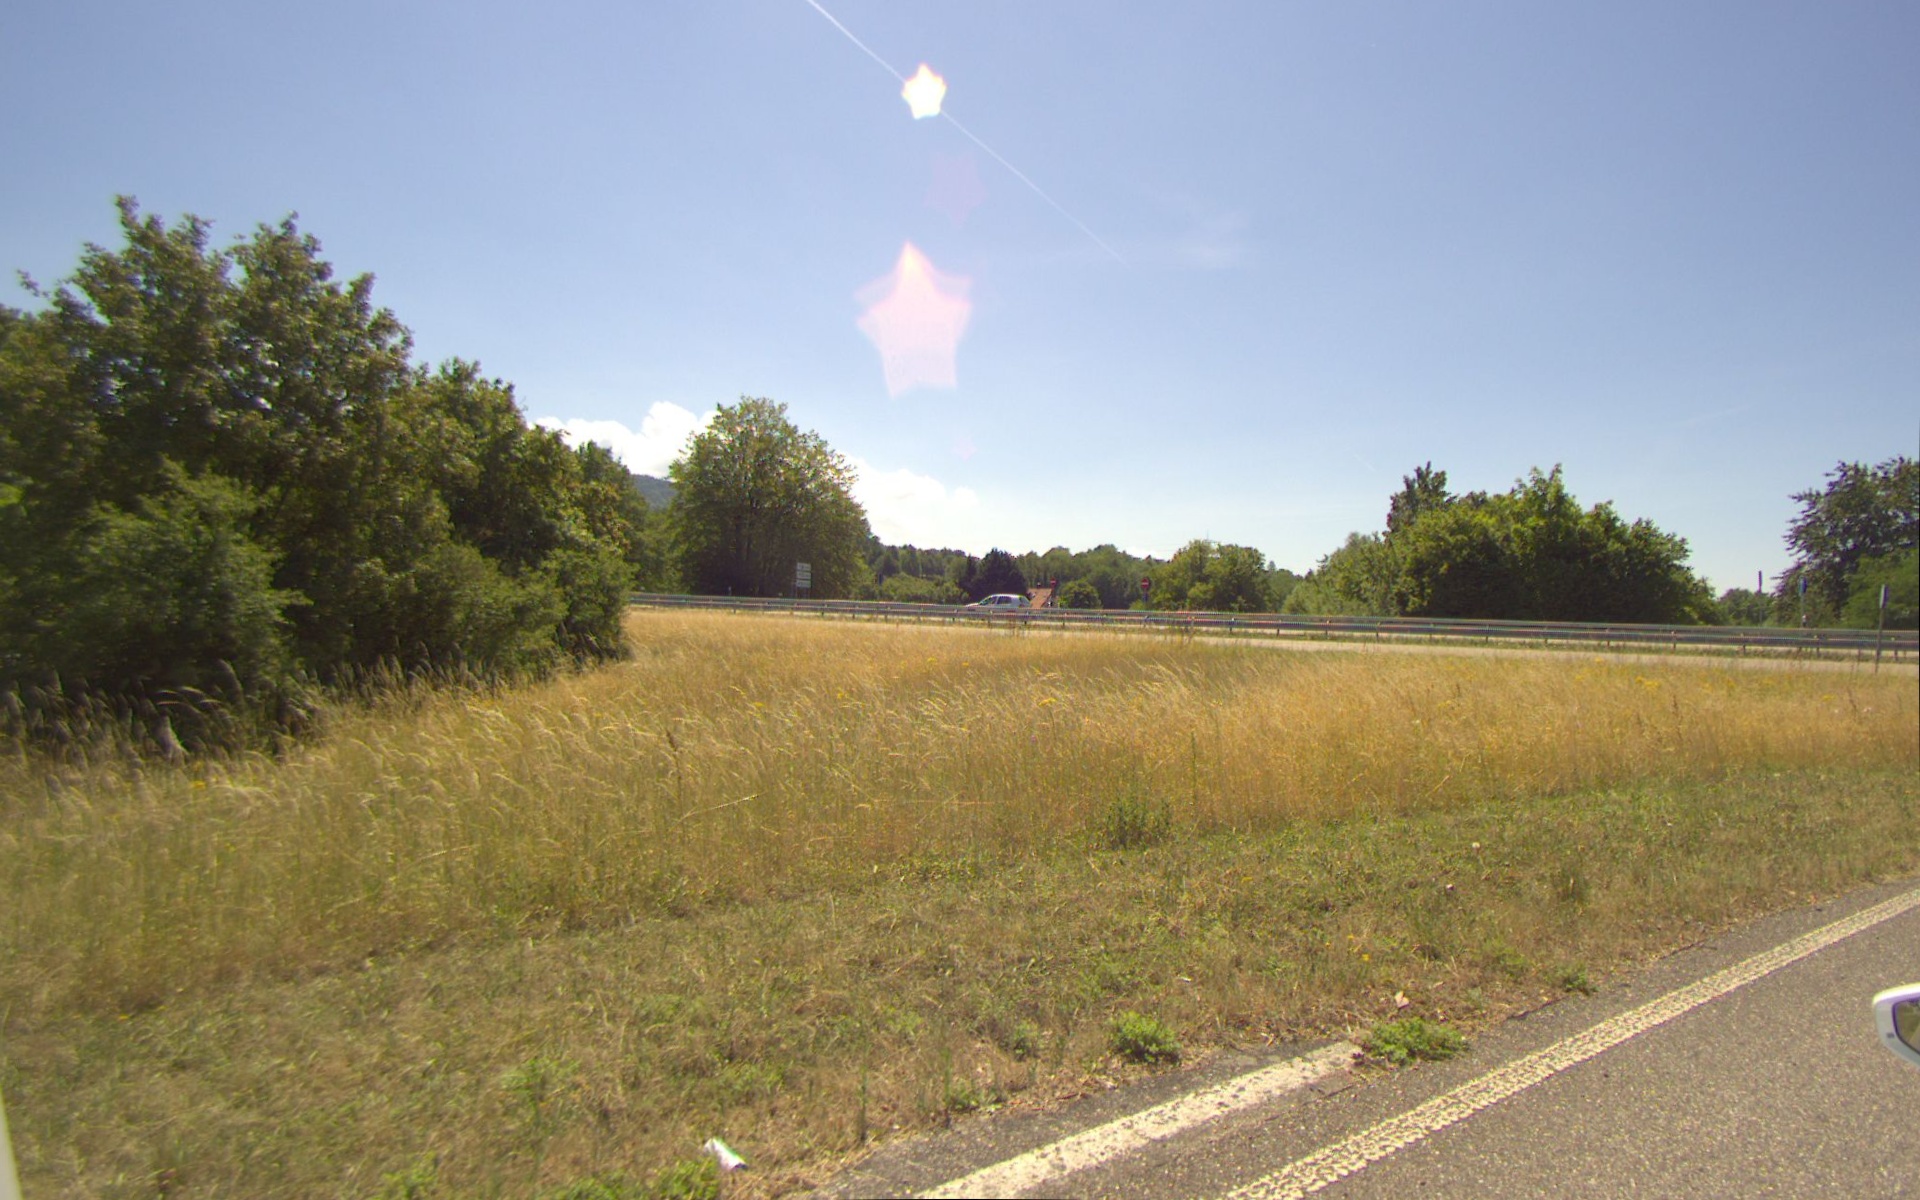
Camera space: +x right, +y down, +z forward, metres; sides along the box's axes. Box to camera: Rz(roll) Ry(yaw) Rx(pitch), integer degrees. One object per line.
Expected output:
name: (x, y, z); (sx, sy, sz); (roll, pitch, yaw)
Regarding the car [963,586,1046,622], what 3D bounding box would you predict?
car: (2.497, 0.222, 56.306); (4.148, 1.813, 1.997); (3, 0, 28)
